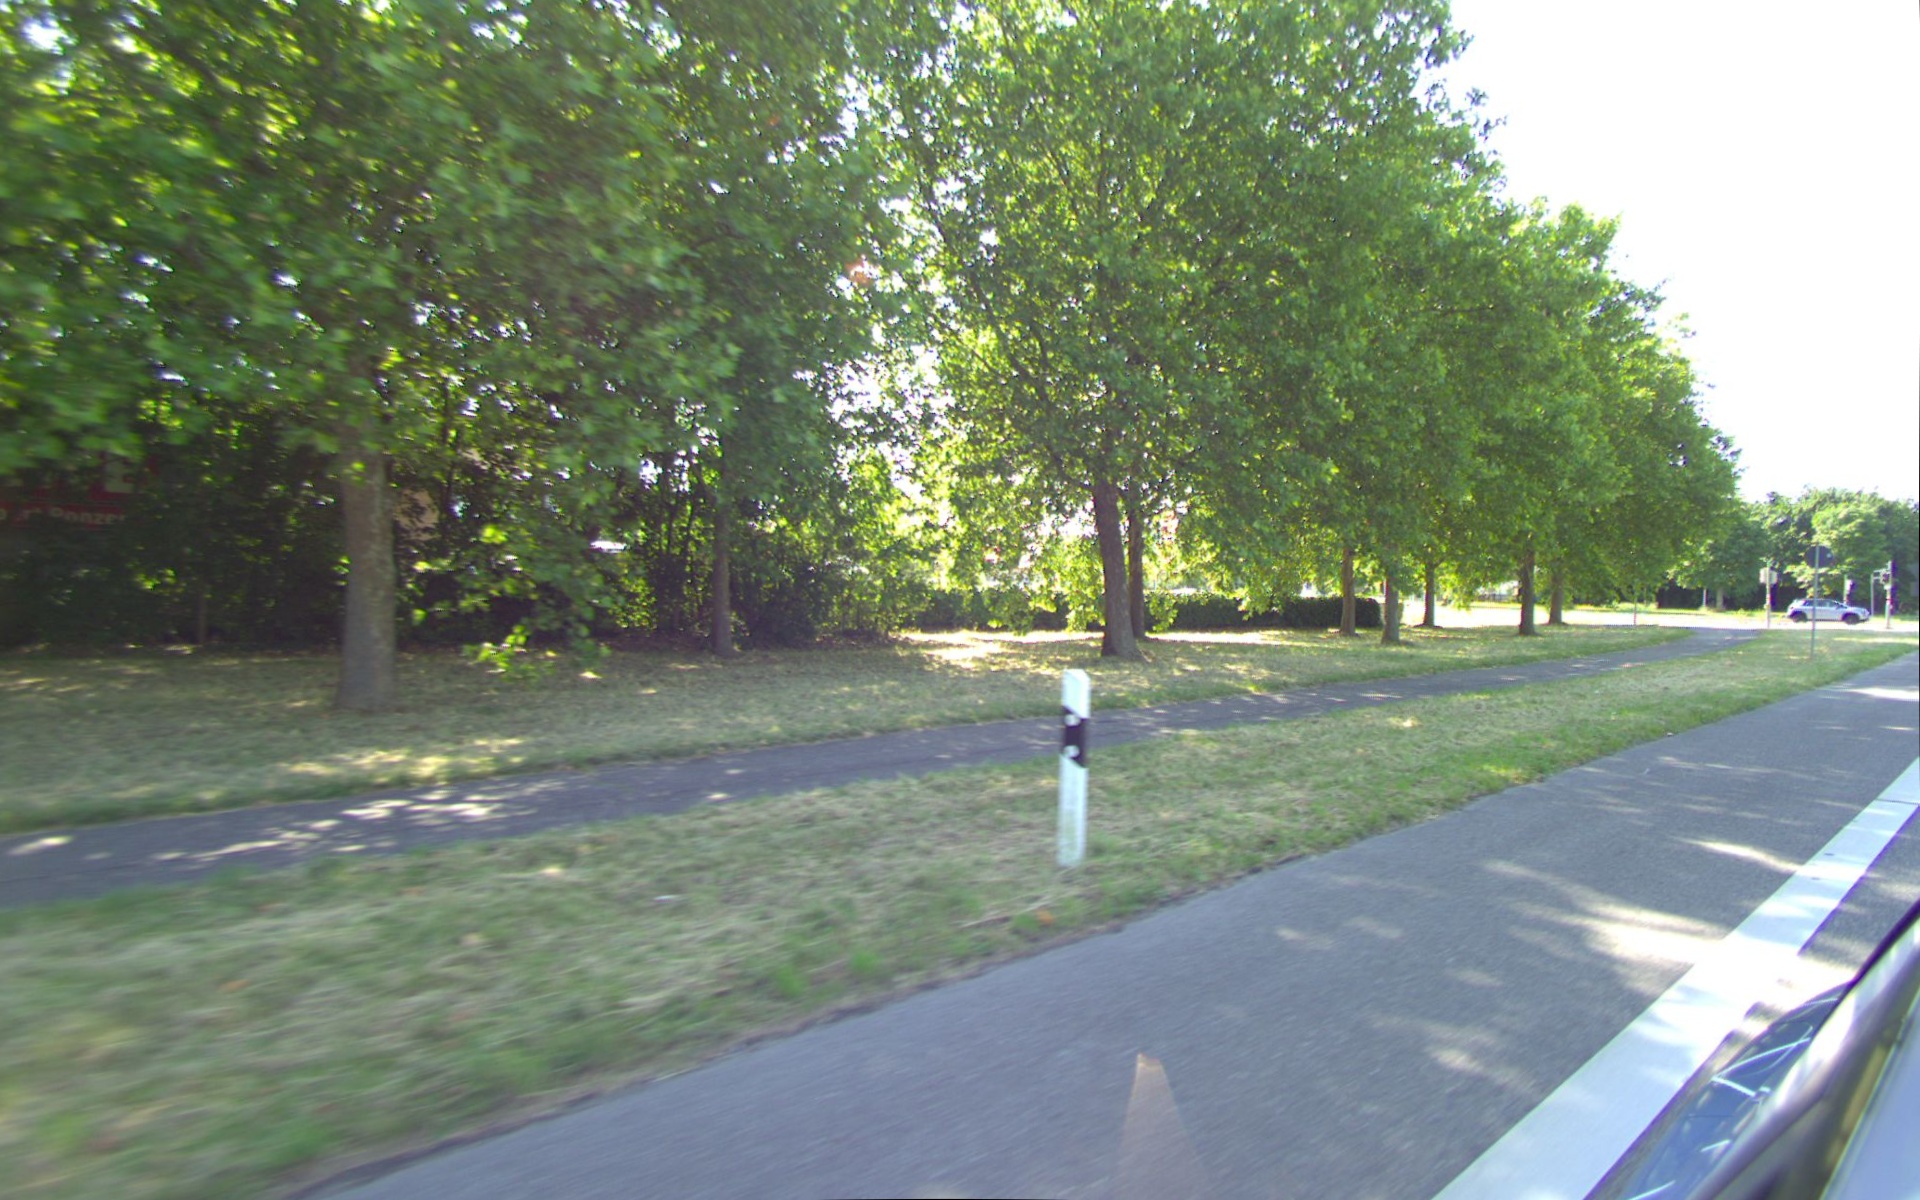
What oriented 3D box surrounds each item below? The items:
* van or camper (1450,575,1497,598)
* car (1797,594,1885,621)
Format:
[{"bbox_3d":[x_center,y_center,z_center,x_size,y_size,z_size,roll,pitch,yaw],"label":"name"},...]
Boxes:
[{"bbox_3d":[64.676,-1.715,127.501,1.967,2.867,4.803,0,1,-45],"label":"van or camper"},{"bbox_3d":[56.166,0.453,64.555,1.713,1.583,4.057,0,1,-42],"label":"car"}]
